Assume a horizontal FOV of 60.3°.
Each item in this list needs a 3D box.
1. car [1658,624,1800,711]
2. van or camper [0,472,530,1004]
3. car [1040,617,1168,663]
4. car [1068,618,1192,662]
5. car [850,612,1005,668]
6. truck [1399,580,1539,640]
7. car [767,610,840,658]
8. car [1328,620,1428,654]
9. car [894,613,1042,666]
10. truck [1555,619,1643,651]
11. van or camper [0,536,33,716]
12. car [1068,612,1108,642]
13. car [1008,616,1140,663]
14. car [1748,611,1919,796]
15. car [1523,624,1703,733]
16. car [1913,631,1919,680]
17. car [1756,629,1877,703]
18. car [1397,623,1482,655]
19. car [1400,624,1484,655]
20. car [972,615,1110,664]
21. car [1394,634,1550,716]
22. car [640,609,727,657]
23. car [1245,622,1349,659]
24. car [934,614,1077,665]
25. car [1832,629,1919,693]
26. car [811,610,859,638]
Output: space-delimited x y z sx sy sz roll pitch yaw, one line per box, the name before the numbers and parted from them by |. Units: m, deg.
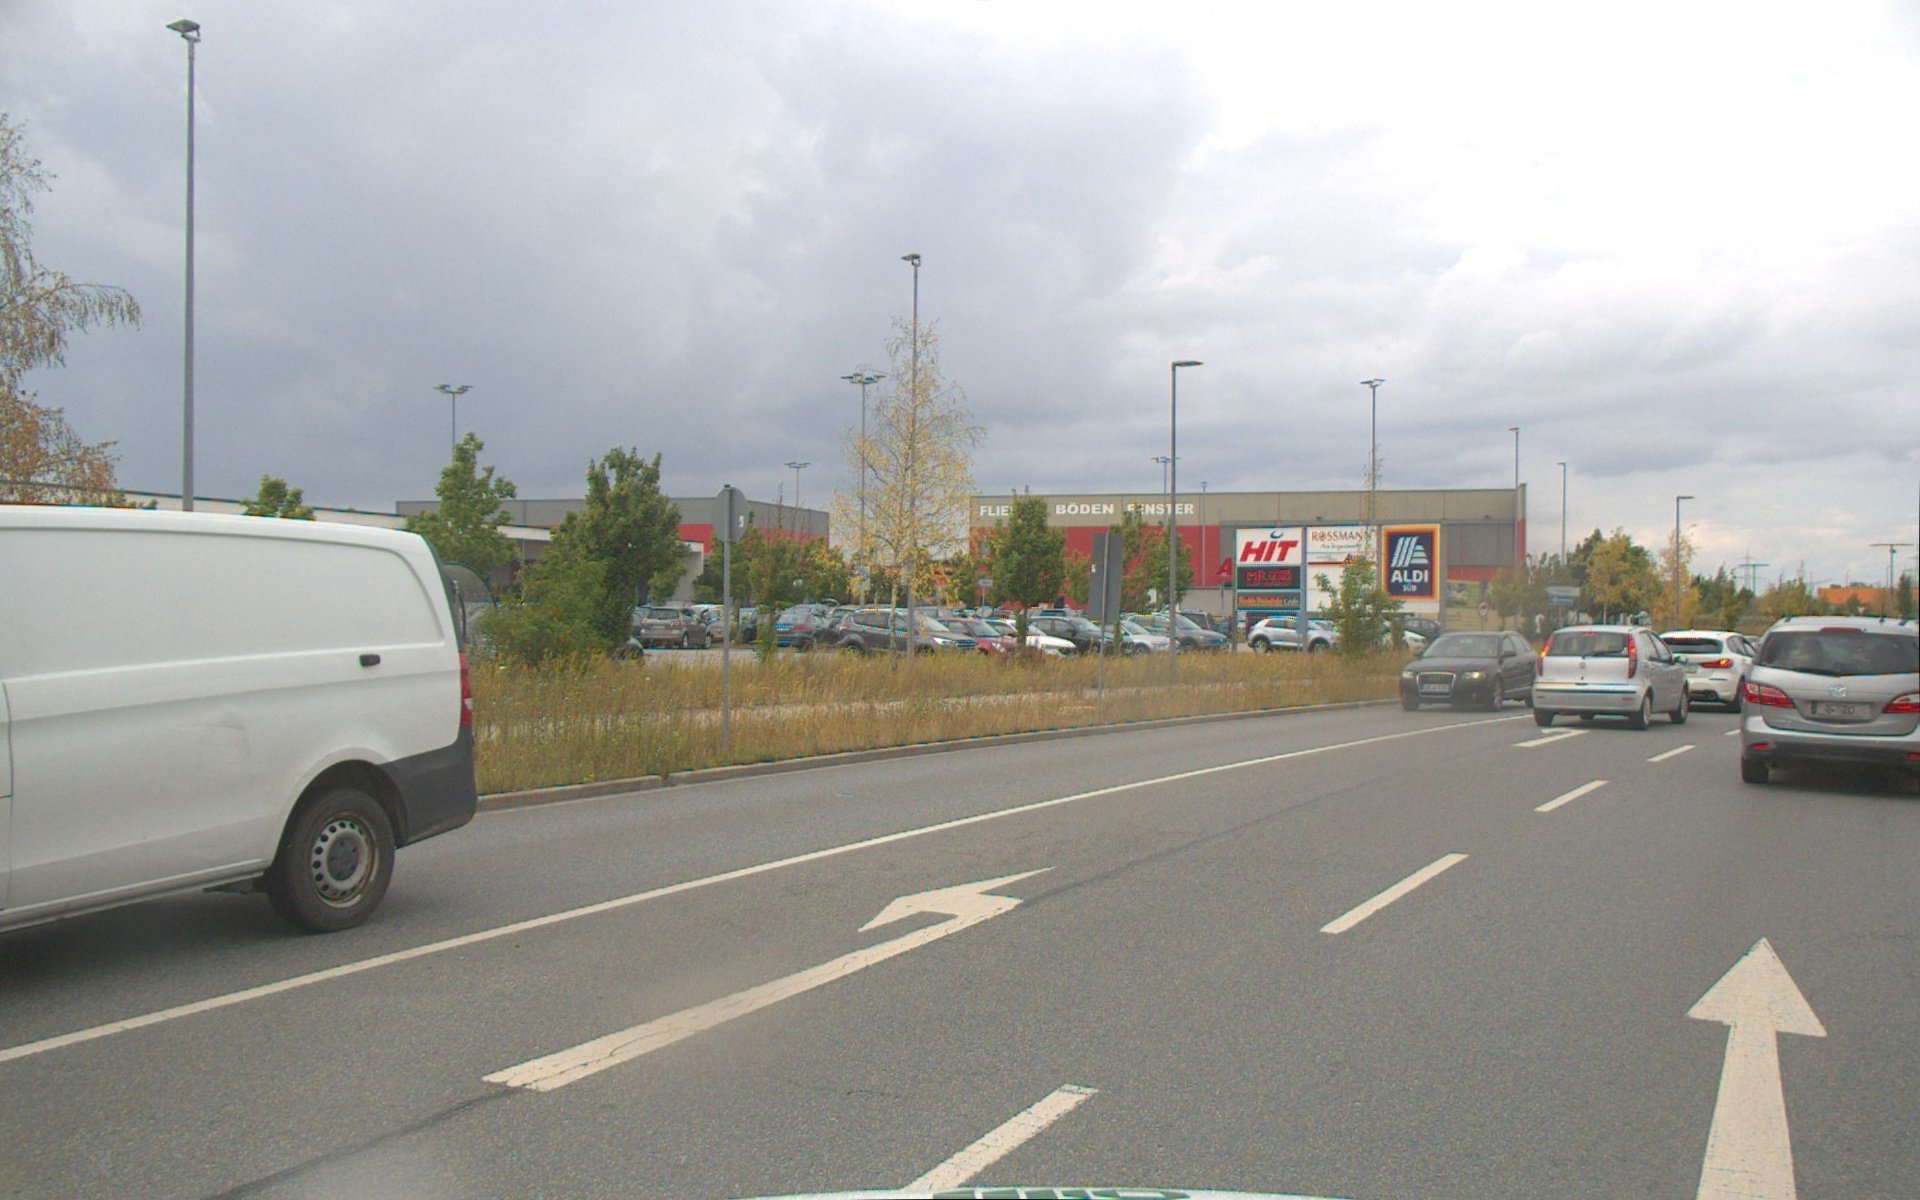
car | 14.282 1.195 30.604 1.763 1.476 4.235 -1 -1 34
van or camper | -4.266 0.512 6.719 1.955 1.945 5.198 0 -1 27
car | 4.697 1.274 53.952 3.732 1.415 1.910 0 -1 31
car | 5.715 1.316 55.709 3.732 1.415 1.910 0 -1 31
car | -0.874 1.040 44.207 3.732 1.415 1.910 0 -1 31
truck | 26.859 0.555 87.116 8.085 2.997 2.648 1 -1 -35
car | -5.723 1.222 61.004 1.720 1.682 3.839 0 0 10
car | 18.533 1.663 73.360 3.914 1.467 1.995 -1 -2 31
car | 0.217 1.091 46.355 3.732 1.415 1.910 0 -1 31
truck | 61.047 3.350 158.189 7.555 2.968 2.348 0 -1 35
van or camper | -15.492 0.387 23.684 3.915 2.536 2.284 -1 -2 32
car | 7.493 1.572 96.559 1.720 1.682 3.839 0 0 15
car | 3.584 1.229 52.090 3.732 1.415 1.910 0 -1 31
car | 9.065 0.944 16.660 1.781 1.590 4.394 1 0 29
car | 9.920 1.117 24.981 1.764 1.486 3.804 -1 -1 34
car | 32.560 1.820 54.364 1.870 1.596 4.321 0 -1 34
car | 19.267 1.422 37.121 1.774 1.534 4.866 -1 -1 35
car | 22.399 1.820 77.263 3.750 1.453 1.743 0 -1 20
car | 23.100 1.894 79.254 3.750 1.453 1.743 0 -1 20
car | 2.441 1.182 50.131 3.732 1.415 1.910 0 -1 31
car | 9.541 1.341 30.611 1.737 1.409 4.138 -1 -2 32
car | -10.437 1.223 62.717 1.951 1.764 4.003 0 0 11
car | 13.628 1.657 66.893 3.765 1.453 1.736 -1 -2 36
car | 1.321 1.136 48.216 3.732 1.415 1.910 0 -1 31
car | 24.383 1.574 43.822 1.869 1.596 4.323 0 -1 33
car | -7.565 1.461 100.595 1.720 1.682 3.839 0 0 15
